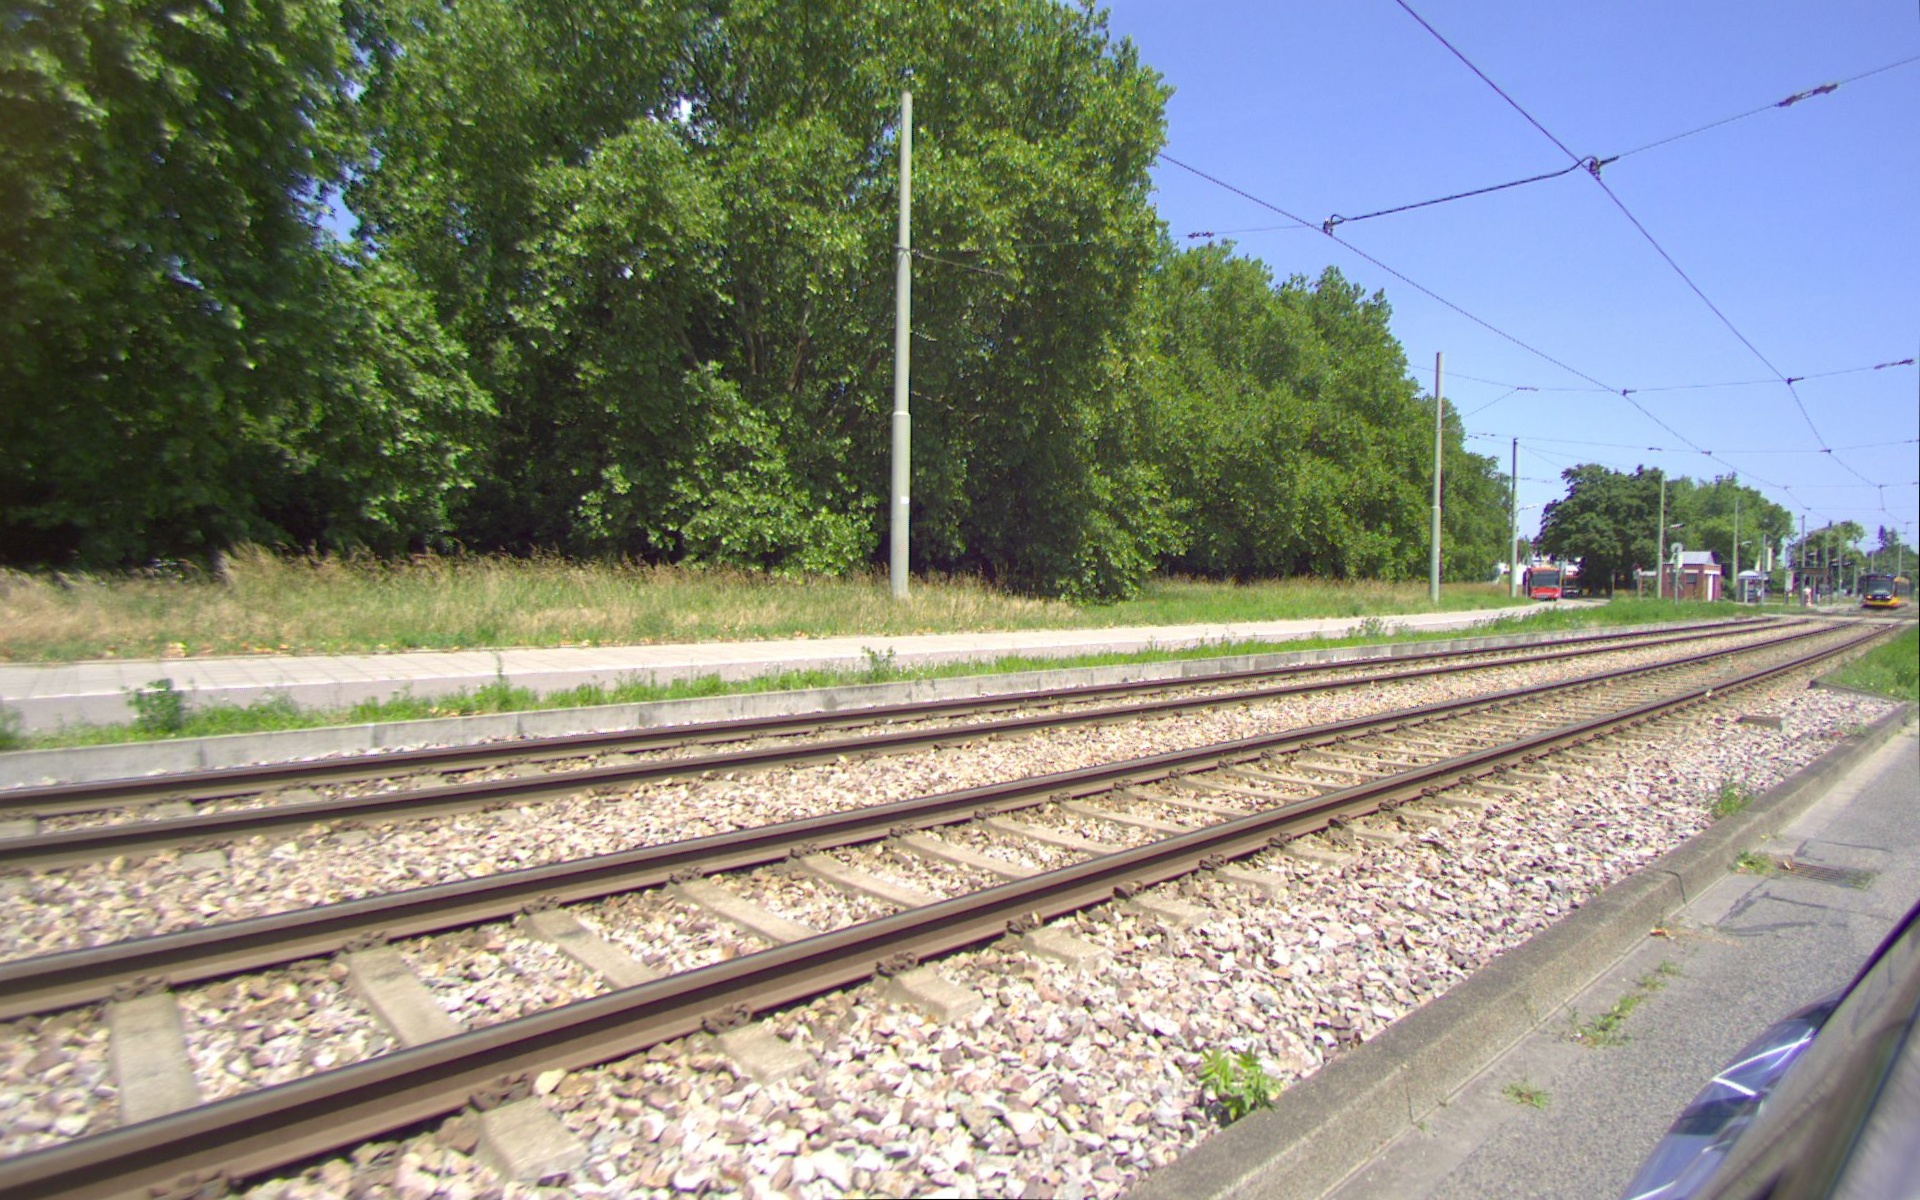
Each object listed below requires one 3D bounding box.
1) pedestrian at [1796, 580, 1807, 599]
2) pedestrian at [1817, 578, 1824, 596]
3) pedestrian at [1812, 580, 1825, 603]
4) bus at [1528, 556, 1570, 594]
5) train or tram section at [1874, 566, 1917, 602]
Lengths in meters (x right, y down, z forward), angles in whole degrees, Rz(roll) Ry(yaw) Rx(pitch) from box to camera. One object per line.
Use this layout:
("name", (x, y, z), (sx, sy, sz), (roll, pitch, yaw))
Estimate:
("pedestrian", (80.676, -1.037, 97.024), (0.646, 1.786, 0.707), (0, 2, -42))
("pedestrian", (77.897, -1.190, 91.605), (0.437, 1.666, 0.361), (0, 2, -41))
("pedestrian", (65.214, -0.653, 76.904), (0.632, 1.781, 0.807), (0, 1, 33))
("bus", (57.442, -2.467, 98.928), (2.741, 3.481, 12.333), (0, 1, 26))
("train or tram section", (92.772, -1.592, 100.340), (7.138, 3.363, 2.521), (0, 2, -43))
